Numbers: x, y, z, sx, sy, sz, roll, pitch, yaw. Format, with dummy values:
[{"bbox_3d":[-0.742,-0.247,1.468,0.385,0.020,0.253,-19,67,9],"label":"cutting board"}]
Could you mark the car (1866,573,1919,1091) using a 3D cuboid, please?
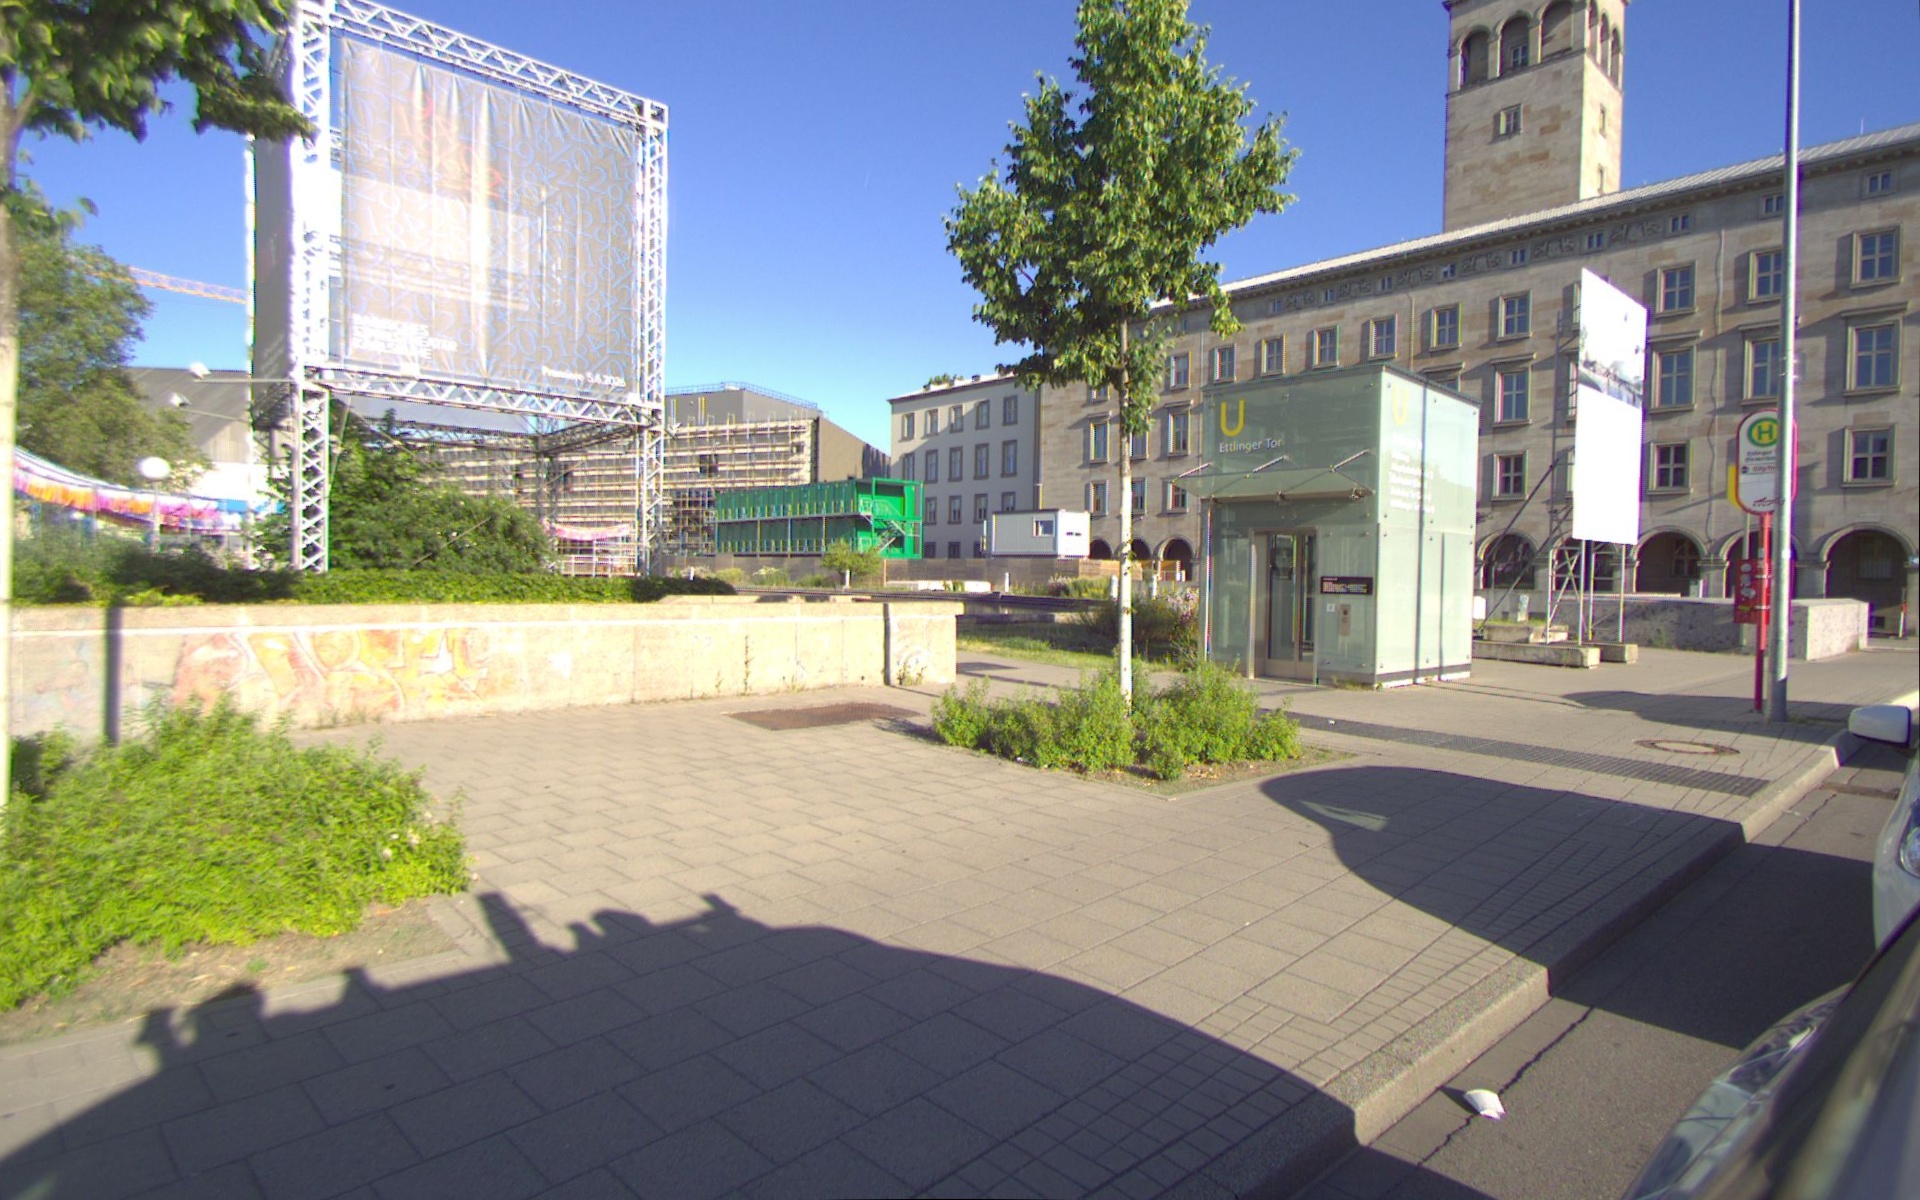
[{"bbox_3d":[4.643,0.677,3.669,3.930,1.473,1.518,0,2,-41],"label":"car"}]
